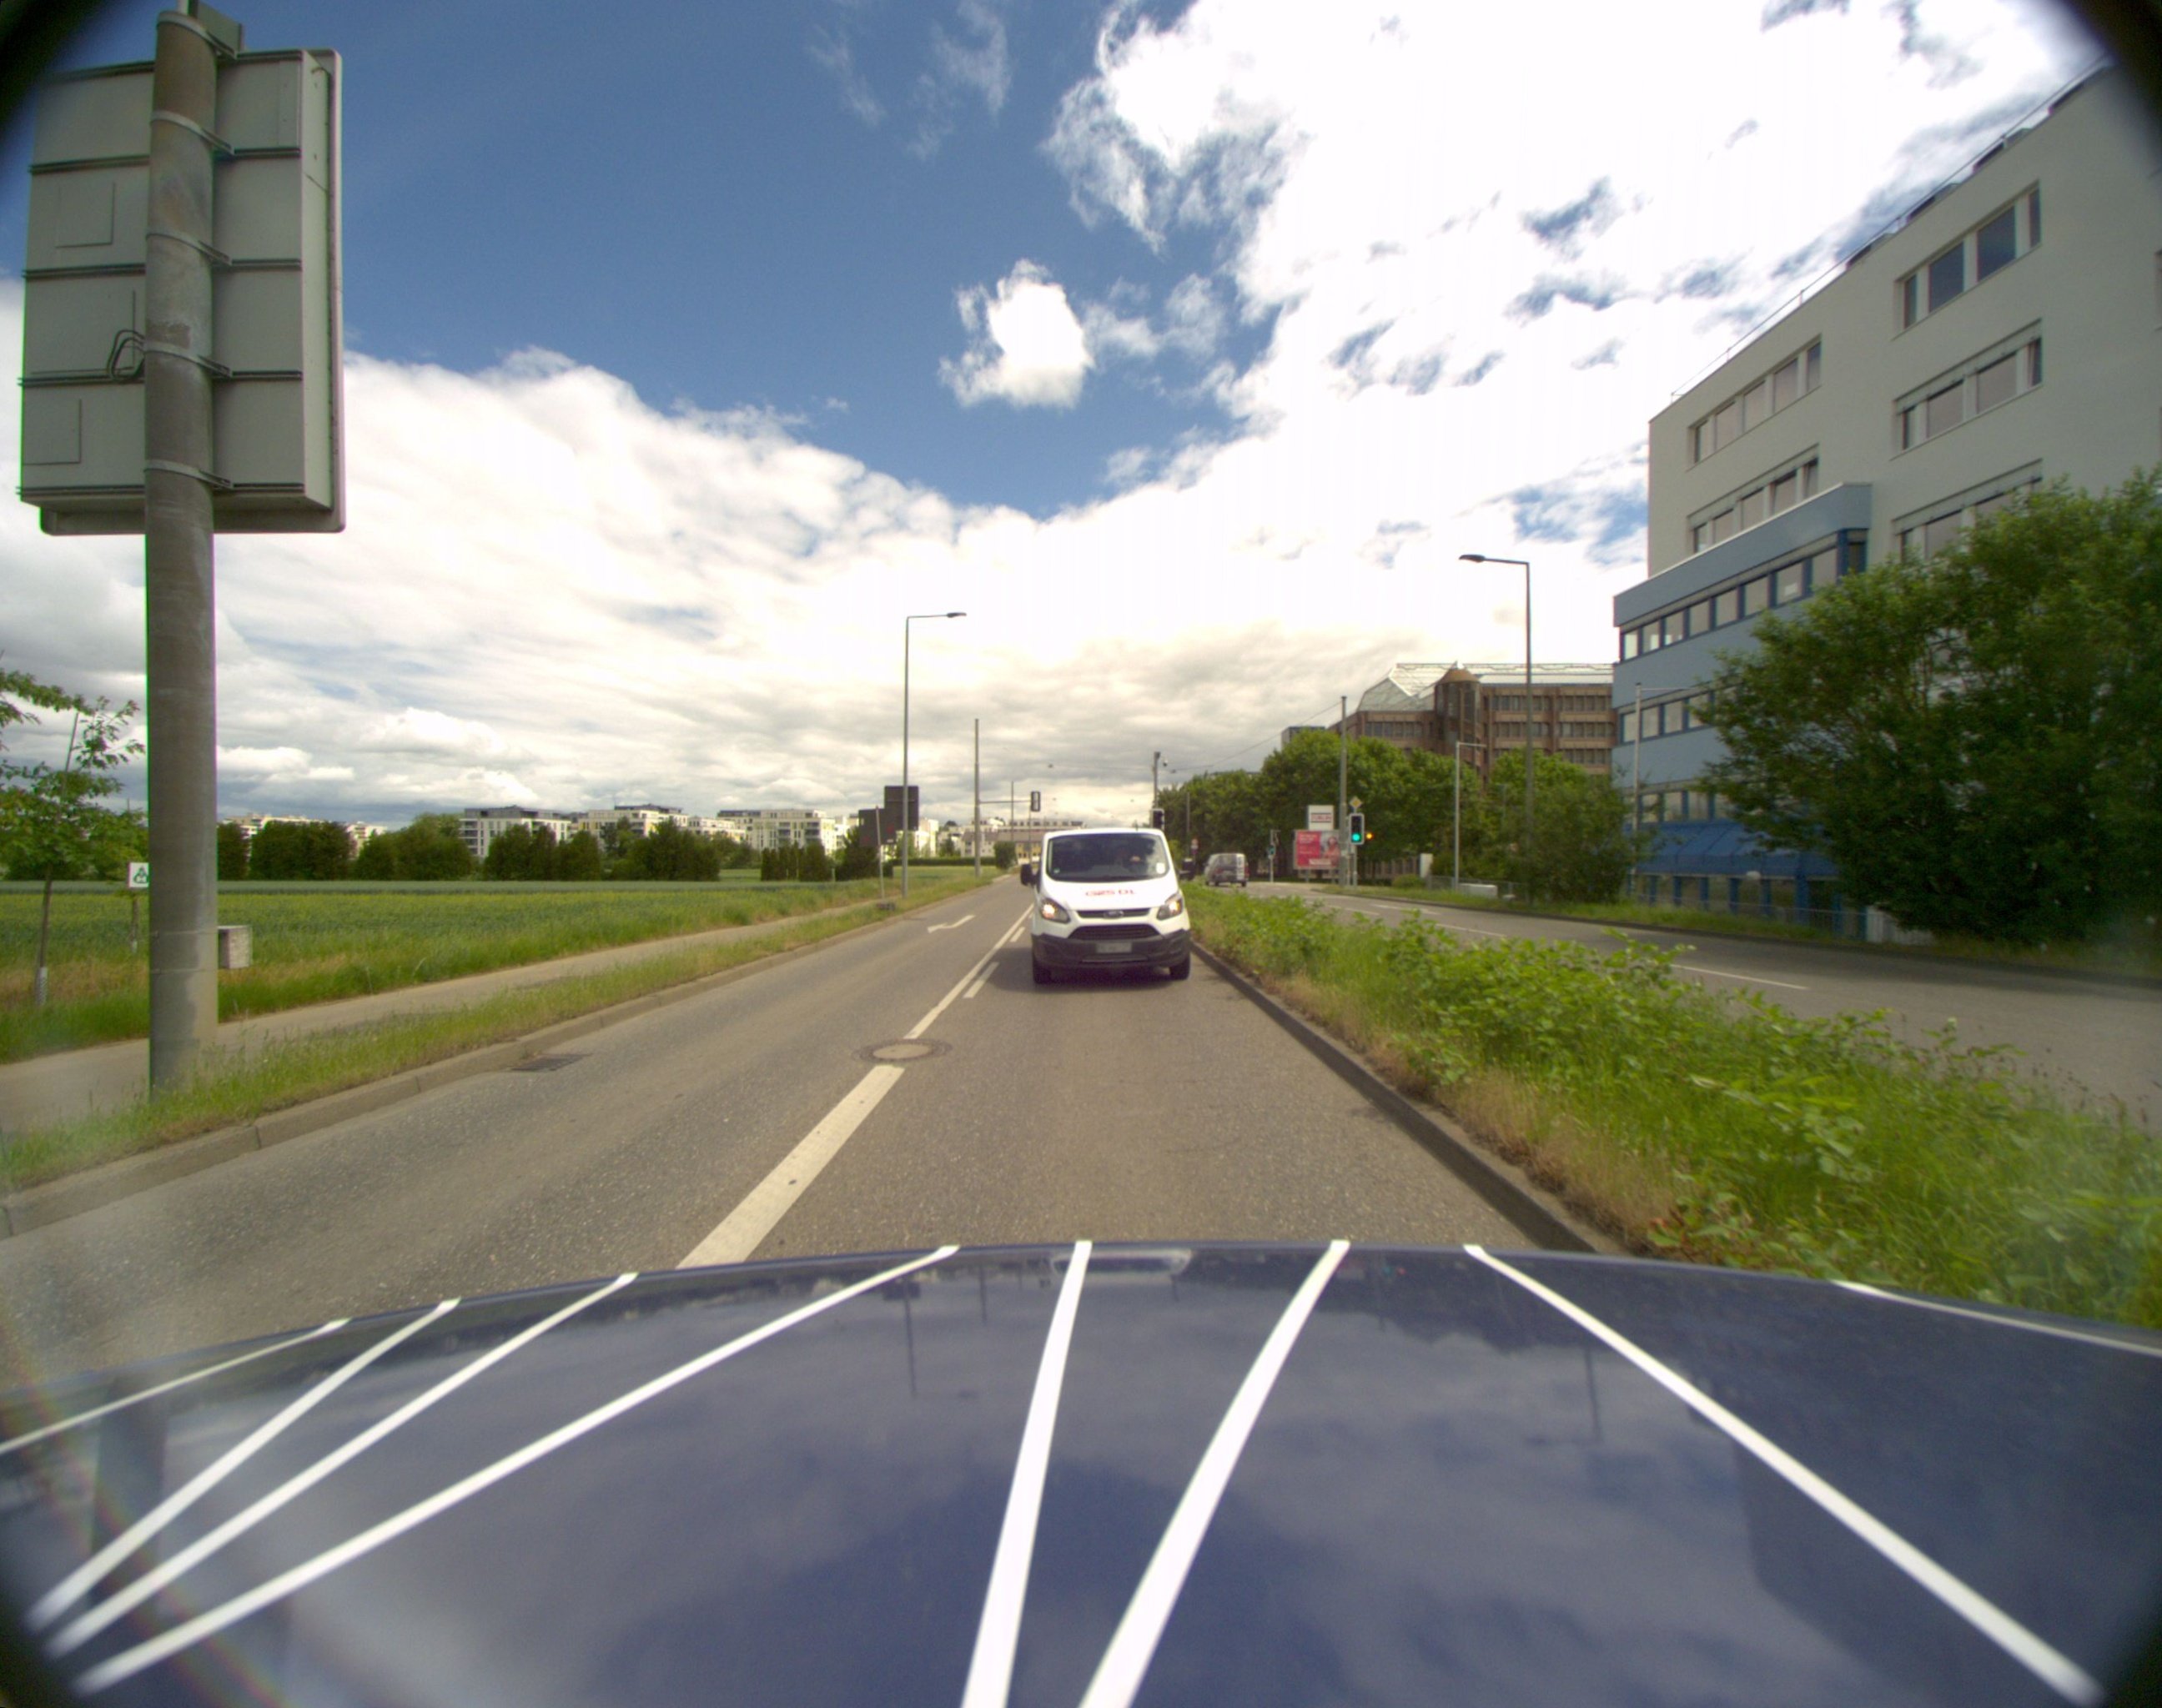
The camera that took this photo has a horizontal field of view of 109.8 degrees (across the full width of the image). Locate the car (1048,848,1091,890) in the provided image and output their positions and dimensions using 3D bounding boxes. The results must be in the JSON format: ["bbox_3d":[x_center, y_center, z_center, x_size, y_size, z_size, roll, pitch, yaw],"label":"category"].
[{"bbox_3d":[-0.536,0.719,38.444,1.998,2.002,4.000,0,0,1],"label":"car"}]

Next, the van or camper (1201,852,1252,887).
[{"bbox_3d":[8.735,0.874,46.038,1.999,2.002,4.815,0,0,-2],"label":"van or camper"}]

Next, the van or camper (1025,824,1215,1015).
[{"bbox_3d":[0.321,0.699,10.890,1.999,2.002,5.798,0,0,-2],"label":"van or camper"}]
